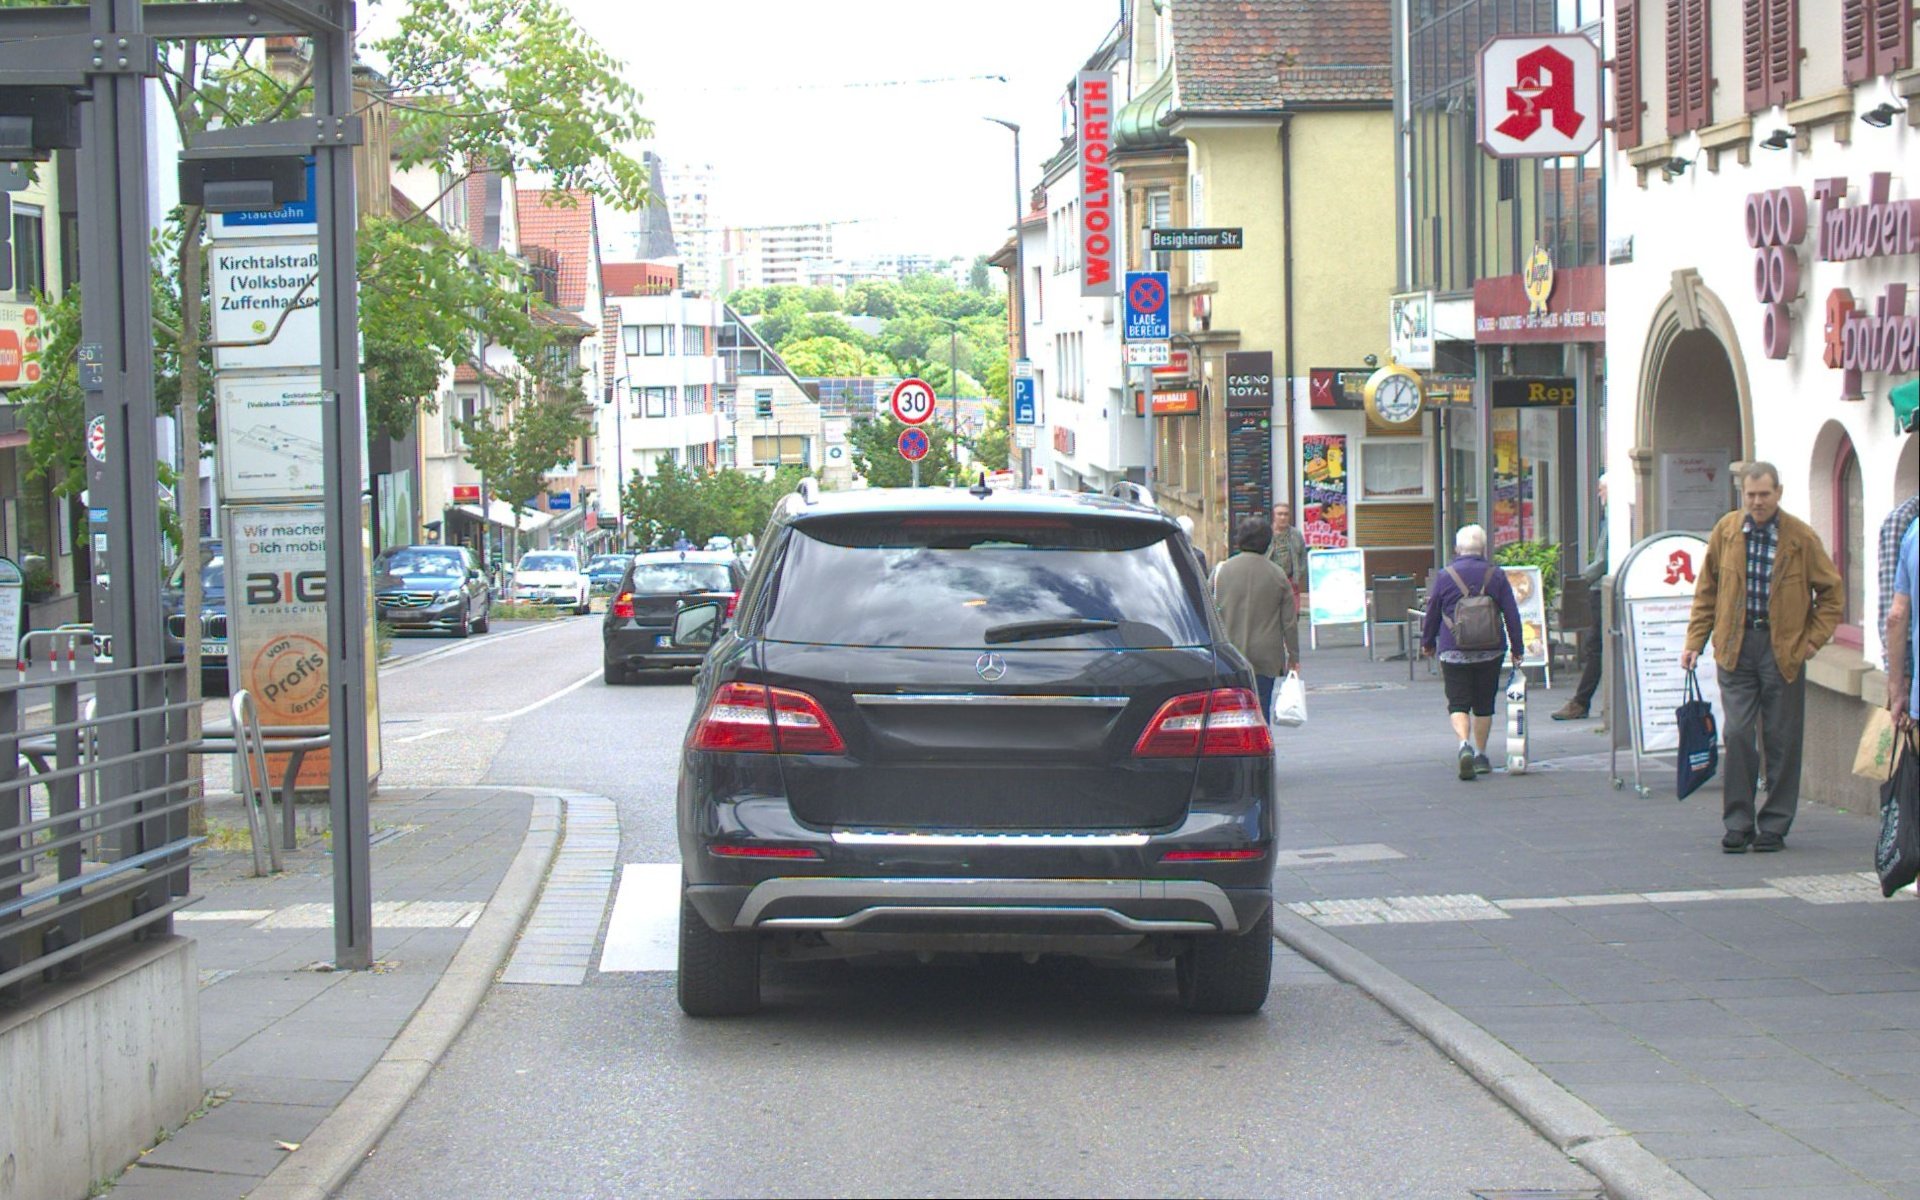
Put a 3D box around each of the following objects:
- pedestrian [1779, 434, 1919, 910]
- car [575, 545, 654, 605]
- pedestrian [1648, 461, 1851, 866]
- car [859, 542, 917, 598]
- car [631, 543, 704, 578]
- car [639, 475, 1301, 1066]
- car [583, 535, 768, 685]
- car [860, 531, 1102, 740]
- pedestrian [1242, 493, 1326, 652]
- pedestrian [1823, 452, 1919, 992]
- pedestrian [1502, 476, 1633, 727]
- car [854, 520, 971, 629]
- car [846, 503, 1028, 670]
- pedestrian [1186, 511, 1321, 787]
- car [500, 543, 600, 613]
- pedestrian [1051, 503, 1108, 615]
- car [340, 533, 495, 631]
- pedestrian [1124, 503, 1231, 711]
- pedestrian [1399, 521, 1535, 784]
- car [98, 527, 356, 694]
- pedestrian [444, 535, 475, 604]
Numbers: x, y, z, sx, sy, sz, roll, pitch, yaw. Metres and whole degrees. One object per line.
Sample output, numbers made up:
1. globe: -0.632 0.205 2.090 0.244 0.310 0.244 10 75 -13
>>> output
1. pedestrian: 3.813 0.272 13.740 0.780 1.851 0.701 0 1 42
2. car: -9.603 -0.679 95.811 1.926 1.616 4.640 0 0 -2
3. pedestrian: 3.594 0.279 15.692 0.786 1.795 0.676 -1 1 5
4. car: -2.613 -1.092 123.288 1.938 1.885 4.707 -3 1 -2
5. car: -16.338 -2.219 192.168 3.986 1.744 2.000 -3 0 -5
6. car: 0.000 0.464 12.269 1.943 1.734 4.179 1 1 -1
7. car: -3.101 0.072 38.085 1.785 1.535 3.745 -1 1 -1
8. car: 0.134 0.231 28.250 1.803 1.550 3.954 -2 1 -1
9. pedestrian: 3.544 -0.303 37.657 0.864 1.701 0.945 -1 1 5
10. pedestrian: 3.306 0.391 11.463 0.701 1.760 0.625 -1 1 25
11. pedestrian: 4.369 0.004 24.771 0.774 1.763 0.817 -1 1 0
12. car: -0.754 -0.433 55.257 1.748 1.602 3.800 -3 1 0
13. car: -0.201 -0.198 39.657 1.877 1.793 4.732 -1 1 2
14. pedestrian: 1.788 0.284 20.981 0.772 1.639 0.870 -1 1 5
15. car: -9.342 -0.519 78.548 1.926 1.506 4.262 1 1 -2
16. pedestrian: 1.878 -0.645 54.016 0.796 1.721 1.053 -2 1 -1
17. car: -8.753 -0.331 55.836 1.926 1.487 4.843 1 1 -2
18. pedestrian: 1.778 0.050 27.991 0.824 1.660 0.802 -1 1 5
19. pedestrian: 3.019 0.301 20.535 0.724 1.526 0.808 -1 1 5
20. car: -8.057 0.061 38.193 2.006 1.688 4.608 0 2 -2
21. pedestrian: -10.630 -0.646 73.016 0.491 1.458 0.559 -1 1 8
